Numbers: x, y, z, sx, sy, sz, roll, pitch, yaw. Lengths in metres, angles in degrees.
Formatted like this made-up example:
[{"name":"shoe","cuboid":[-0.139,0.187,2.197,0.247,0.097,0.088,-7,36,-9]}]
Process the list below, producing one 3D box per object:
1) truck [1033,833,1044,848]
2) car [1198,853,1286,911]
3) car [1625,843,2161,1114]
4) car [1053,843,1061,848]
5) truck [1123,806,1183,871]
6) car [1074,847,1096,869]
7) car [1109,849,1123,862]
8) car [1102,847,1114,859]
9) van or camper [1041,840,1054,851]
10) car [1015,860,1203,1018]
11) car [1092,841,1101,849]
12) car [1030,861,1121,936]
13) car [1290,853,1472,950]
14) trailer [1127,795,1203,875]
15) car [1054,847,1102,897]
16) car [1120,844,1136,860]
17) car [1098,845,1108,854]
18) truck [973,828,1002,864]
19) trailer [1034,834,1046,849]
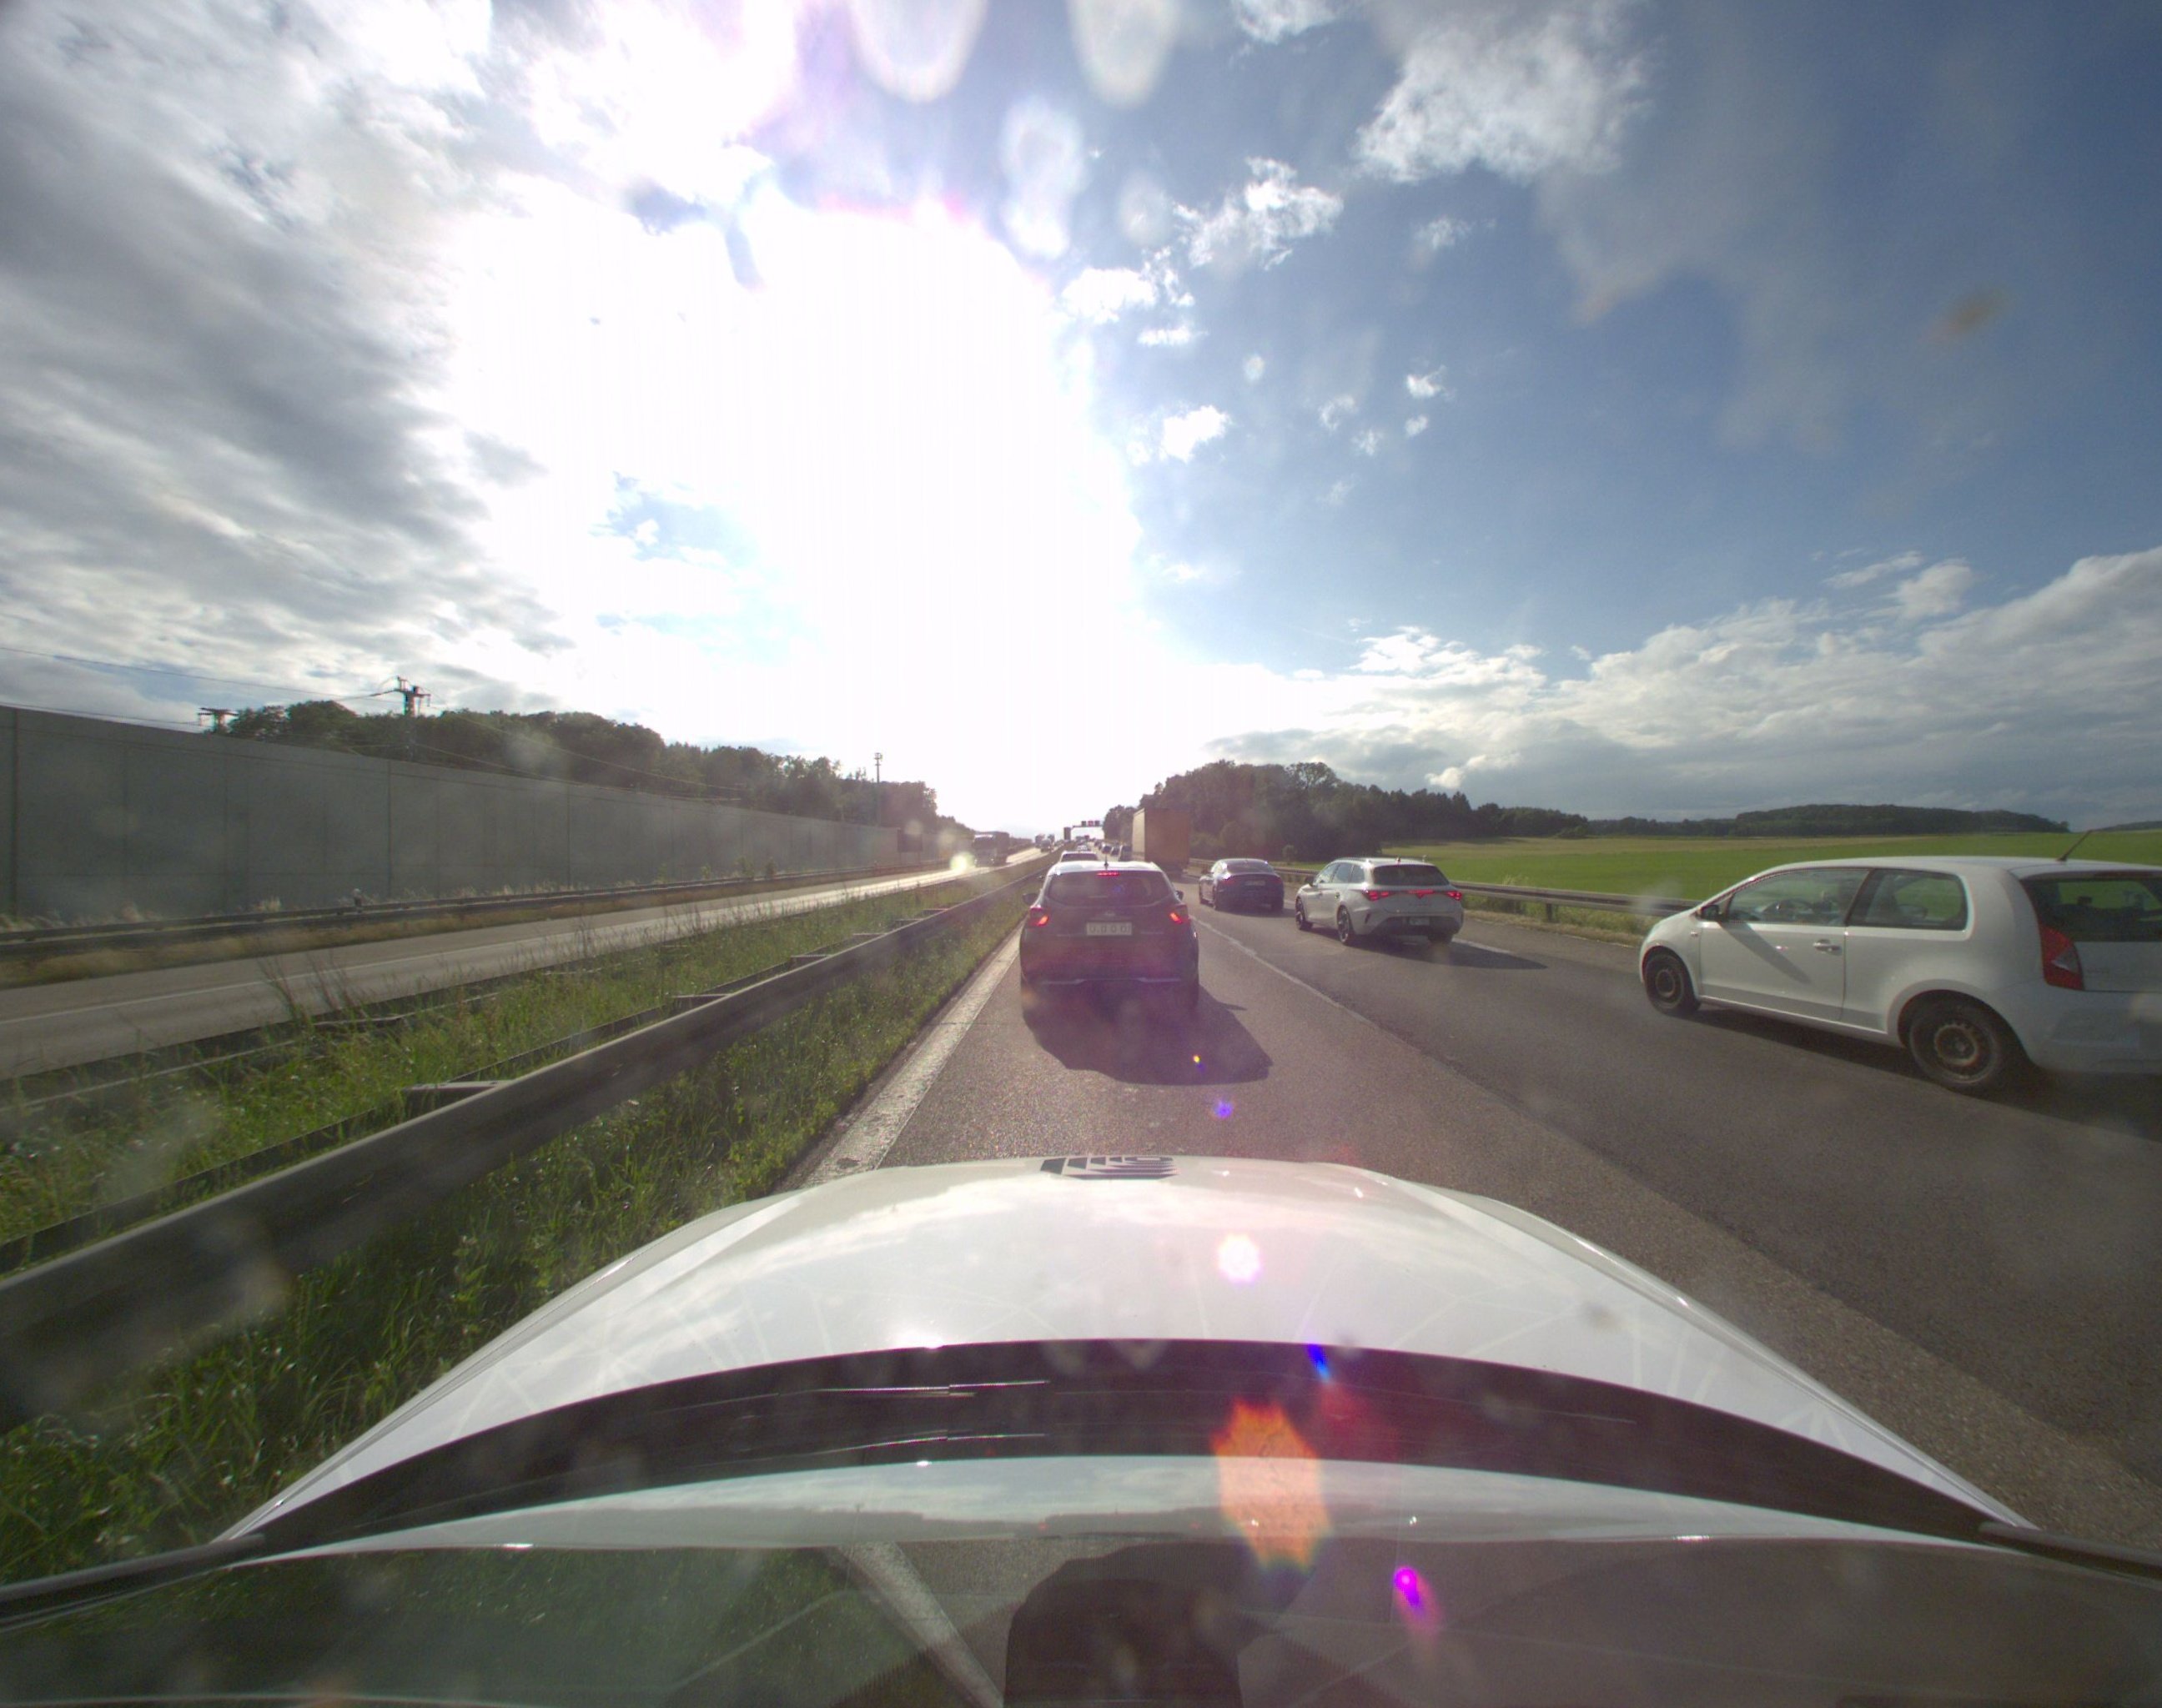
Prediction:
[{"name":"truck","cuboid":[-11.682,-3.642,225.401,2.544,3.798,5.417,-3,-1,1]},{"name":"car","cuboid":[4.406,0.737,22.866,1.741,1.475,4.147,-1,-1,1]},{"name":"car","cuboid":[6.089,0.678,6.238,1.544,1.495,3.376,-1,0,-1]},{"name":"car","cuboid":[-6.989,-2.428,235.812,1.986,1.486,4.399,0,0,1]},{"name":"truck","cuboid":[5.039,-1.021,58.367,3.571,4.380,6.686,0,-1,-1]},{"name":"car","cuboid":[0.343,0.402,76.912,1.987,2.014,3.998,0,-1,-1]},{"name":"car","cuboid":[5.614,0.222,131.062,1.987,2.014,3.998,0,-1,-1]},{"name":"car","cuboid":[4.885,-0.180,149.099,1.987,2.014,3.998,0,-1,-1]},{"name":"van or camper","cuboid":[-6.845,-1.744,168.050,2.158,2.205,6.260,0,-1,2]},{"name":"car","cuboid":[0.310,0.789,9.126,1.703,1.426,3.379,-1,-1,2]},{"name":"car","cuboid":[3.972,-2.296,209.925,1.987,2.014,3.998,0,-1,-1]},{"name":"car","cuboid":[-0.061,0.835,16.758,1.668,1.367,3.597,-1,-1,1]},{"name":"car","cuboid":[5.054,0.740,14.347,1.616,1.445,4.144,-1,-1,-1]},{"name":"trailer","cuboid":[5.083,-1.007,52.151,3.538,4.457,12.718,0,-1,0]},{"name":"car","cuboid":[-0.061,0.642,29.929,1.668,1.726,3.597,-1,-1,1]},{"name":"car","cuboid":[5.247,-0.184,90.573,1.661,1.755,3.328,0,-1,2]},{"name":"car","cuboid":[4.696,-0.934,173.849,1.987,2.014,3.998,0,-1,-1]},{"name":"truck","cuboid":[-11.000,-0.858,96.166,2.629,4.098,7.000,0,-1,0]},{"name":"trailer","cuboid":[-11.577,-3.548,232.444,2.531,3.771,12.542,-3,-1,1]}]
